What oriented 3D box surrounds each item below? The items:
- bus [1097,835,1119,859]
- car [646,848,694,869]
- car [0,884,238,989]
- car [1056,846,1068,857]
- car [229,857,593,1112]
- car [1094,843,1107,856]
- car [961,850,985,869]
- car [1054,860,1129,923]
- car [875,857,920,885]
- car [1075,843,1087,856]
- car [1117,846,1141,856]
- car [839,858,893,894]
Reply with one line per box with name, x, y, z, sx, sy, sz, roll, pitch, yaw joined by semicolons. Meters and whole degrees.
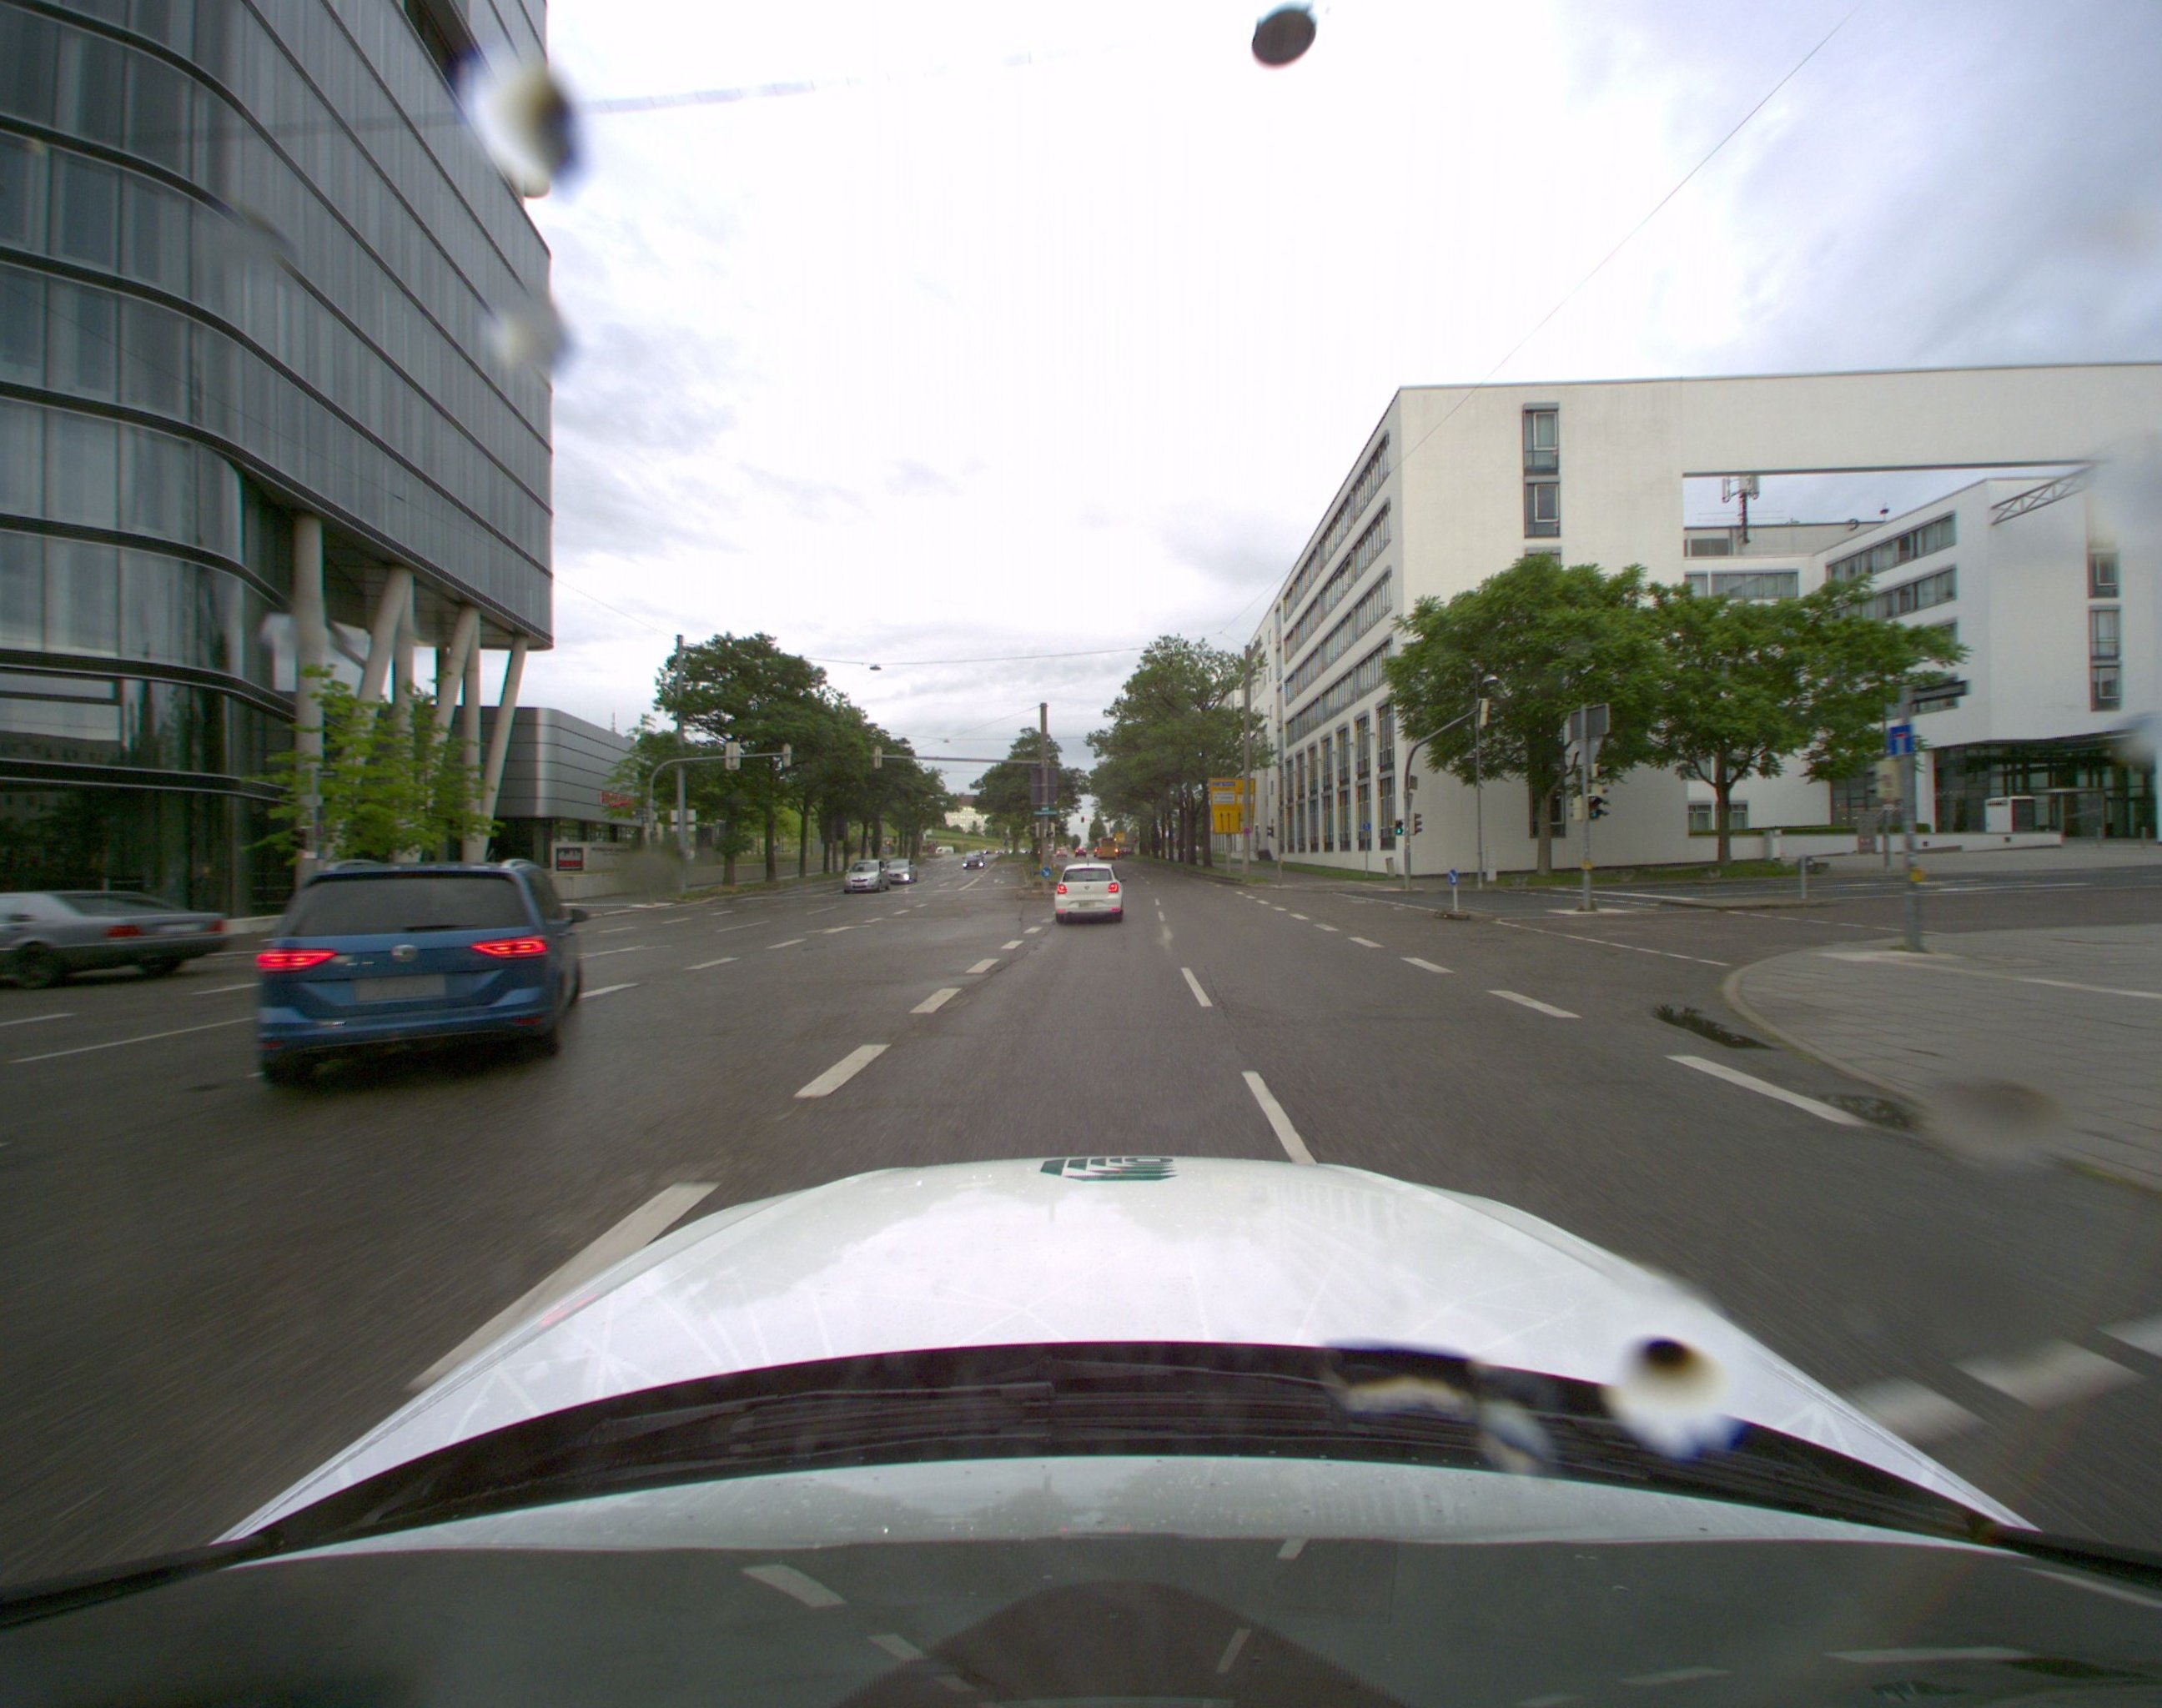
bus;3.839;-1.039;119.087;2.819;3.266;9.997;0;1;-1
car;-41.364;0.455;82.030;4.001;2.013;1.986;-2;1;-20
car;-16.910;1.335;13.447;4.021;1.510;1.853;-2;-1;0
car;-3.133;-0.440;133.188;1.789;1.741;3.997;-2;0;-2
car;-5.659;0.879;7.489;1.783;1.596;4.158;-1;-1;-28
car;3.161;-0.697;132.522;1.987;2.014;3.998;-1;-1;-1
car;-10.362;0.501;78.567;1.990;1.615;5.113;-3;1;-4
car;0.268;0.904;21.419;1.788;1.502;4.000;0;0;0
car;-10.760;0.971;48.104;1.810;1.411;4.650;-3;1;-3
car;-0.022;-0.650;131.647;1.987;2.014;3.998;-1;-1;-1
car;7.722;-0.525;131.421;1.679;1.515;3.850;-2;-1;44
car;-10.283;1.013;39.233;1.746;1.520;3.812;-2;0;-4
